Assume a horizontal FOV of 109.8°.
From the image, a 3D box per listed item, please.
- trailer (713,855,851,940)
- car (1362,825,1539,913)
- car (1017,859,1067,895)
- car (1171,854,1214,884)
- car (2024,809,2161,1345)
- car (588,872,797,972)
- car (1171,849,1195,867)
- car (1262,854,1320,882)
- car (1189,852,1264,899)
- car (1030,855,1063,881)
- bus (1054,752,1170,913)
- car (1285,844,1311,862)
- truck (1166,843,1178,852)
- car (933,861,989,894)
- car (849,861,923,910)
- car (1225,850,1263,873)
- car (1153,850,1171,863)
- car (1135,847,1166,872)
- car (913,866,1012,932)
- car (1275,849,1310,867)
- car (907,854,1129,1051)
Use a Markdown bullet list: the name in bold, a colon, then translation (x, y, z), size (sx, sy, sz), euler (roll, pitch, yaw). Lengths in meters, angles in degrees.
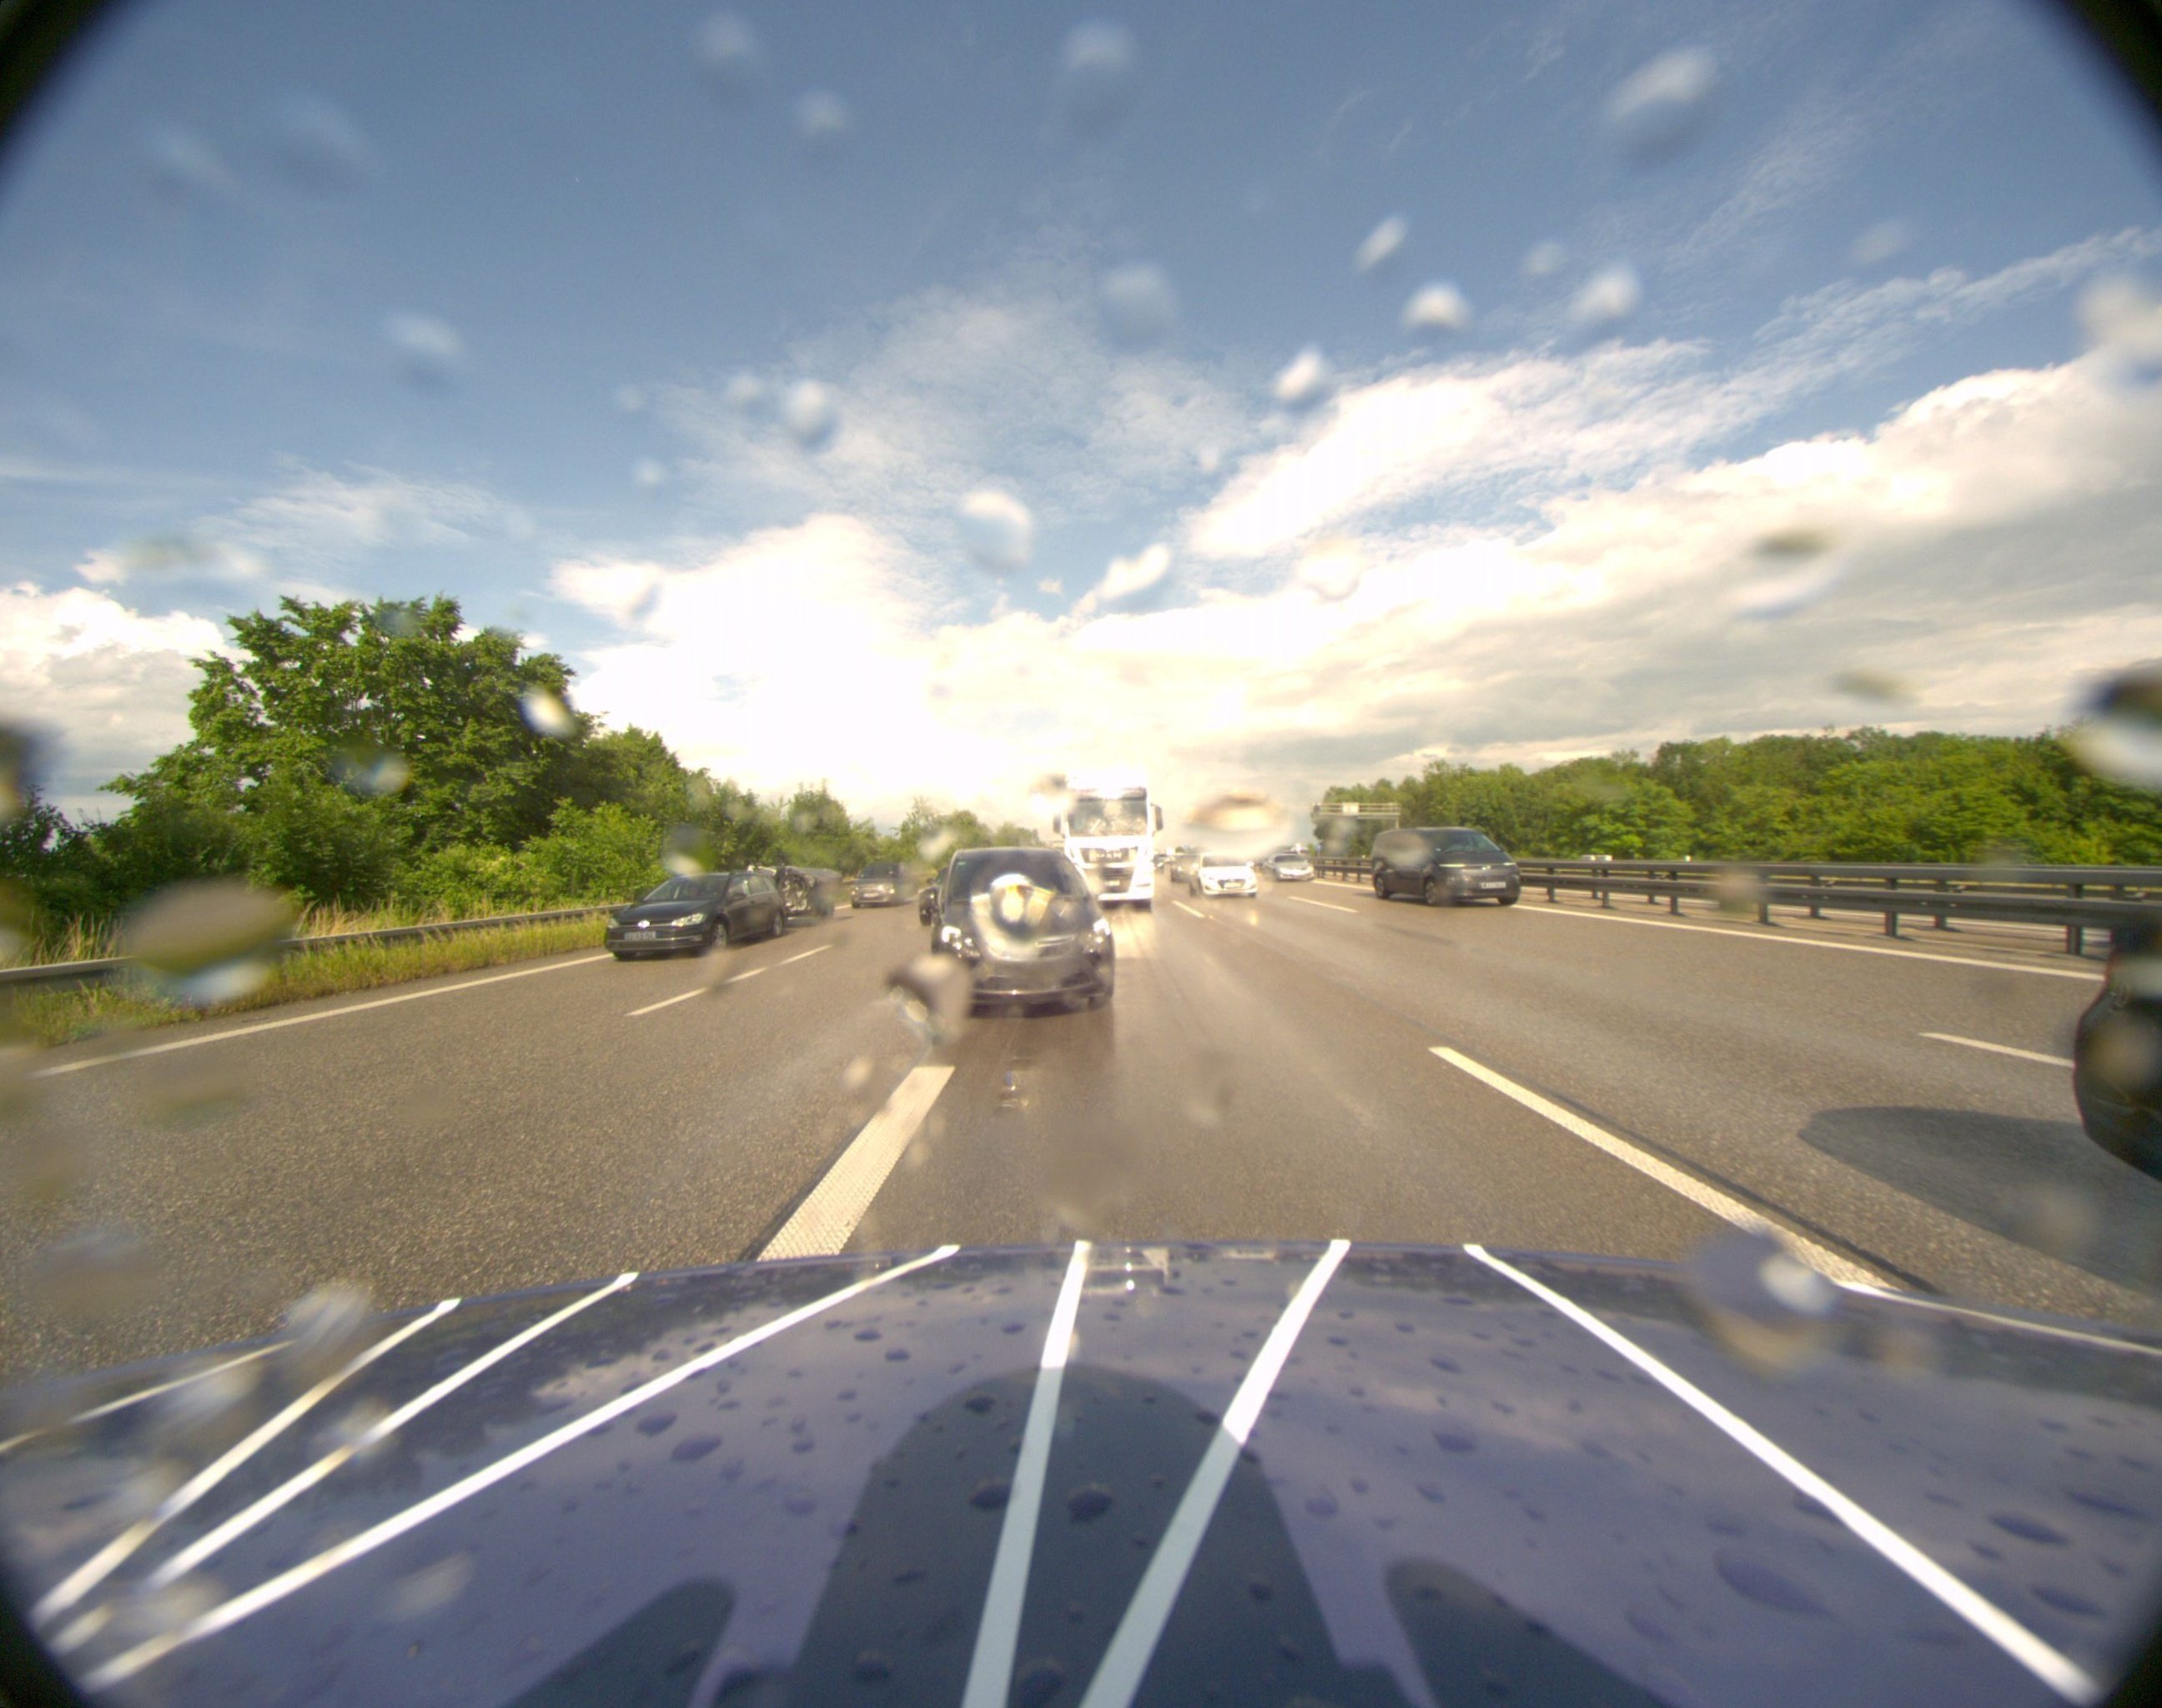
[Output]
- **trailer**: translation (-7.099, 0.955, 18.521), size (1.810, 1.736, 3.966), euler (-3, 0, -2)
- **car**: translation (9.177, 0.318, 19.502), size (1.998, 1.906, 5.236), euler (-2, 0, 1)
- **car**: translation (-1.614, 0.932, 32.552), size (1.743, 1.357, 4.000), euler (-2, 0, 2)
- **car**: translation (5.497, 0.708, 37.869), size (1.597, 1.390, 4.000), euler (-2, 0, 1)
- **car**: translation (4.235, 0.678, 0.361), size (1.881, 1.669, 4.626), euler (-2, 0, 1)
- **car**: translation (-7.023, 1.135, 14.342), size (1.748, 1.422, 4.403), euler (-2, 0, -2)
- **car**: translation (10.870, 0.399, 81.220), size (1.900, 1.740, 3.999), euler (-2, 0, 0)
- **car**: translation (9.734, 0.615, 35.528), size (1.856, 1.182, 3.583), euler (-2, 0, 3)
- **car**: translation (4.747, 0.664, 25.327), size (1.809, 1.389, 4.240), euler (-1, 0, 2)
- **car**: translation (-2.101, 0.830, 47.203), size (1.858, 1.434, 3.999), euler (-2, 0, 0)
- **bus**: translation (0.910, -0.573, 24.879), size (2.904, 4.104, 9.845), euler (-2, 0, 1)
- **car**: translation (25.370, -0.171, 88.937), size (1.998, 2.002, 4.364), euler (-2, 0, 4)
- **truck**: translation (30.010, -2.113, 251.729), size (2.923, 2.970, 8.721), euler (-2, 1, 1)
- **car**: translation (-5.566, 1.044, 35.769), size (1.771, 1.343, 4.580), euler (-2, 0, 1)
- **car**: translation (-6.667, 1.030, 26.274), size (1.616, 1.480, 3.481), euler (-2, 0, 0)
- **car**: translation (10.493, 0.451, 49.112), size (1.618, 1.412, 4.000), euler (-2, 0, 1)
- **car**: translation (10.938, 0.345, 102.430), size (1.900, 1.740, 3.999), euler (-2, 0, 0)
- **car**: translation (5.131, 0.379, 56.512), size (1.889, 1.707, 3.999), euler (-2, 0, 0)
- **car**: translation (-2.813, 1.033, 18.832), size (1.722, 1.346, 3.884), euler (-2, 0, 1)
- **car**: translation (17.698, 0.304, 63.671), size (1.850, 1.443, 3.633), euler (-2, 0, 0)
- **car**: translation (-0.748, 0.841, 8.915), size (1.859, 1.622, 4.733), euler (-2, 0, -5)
